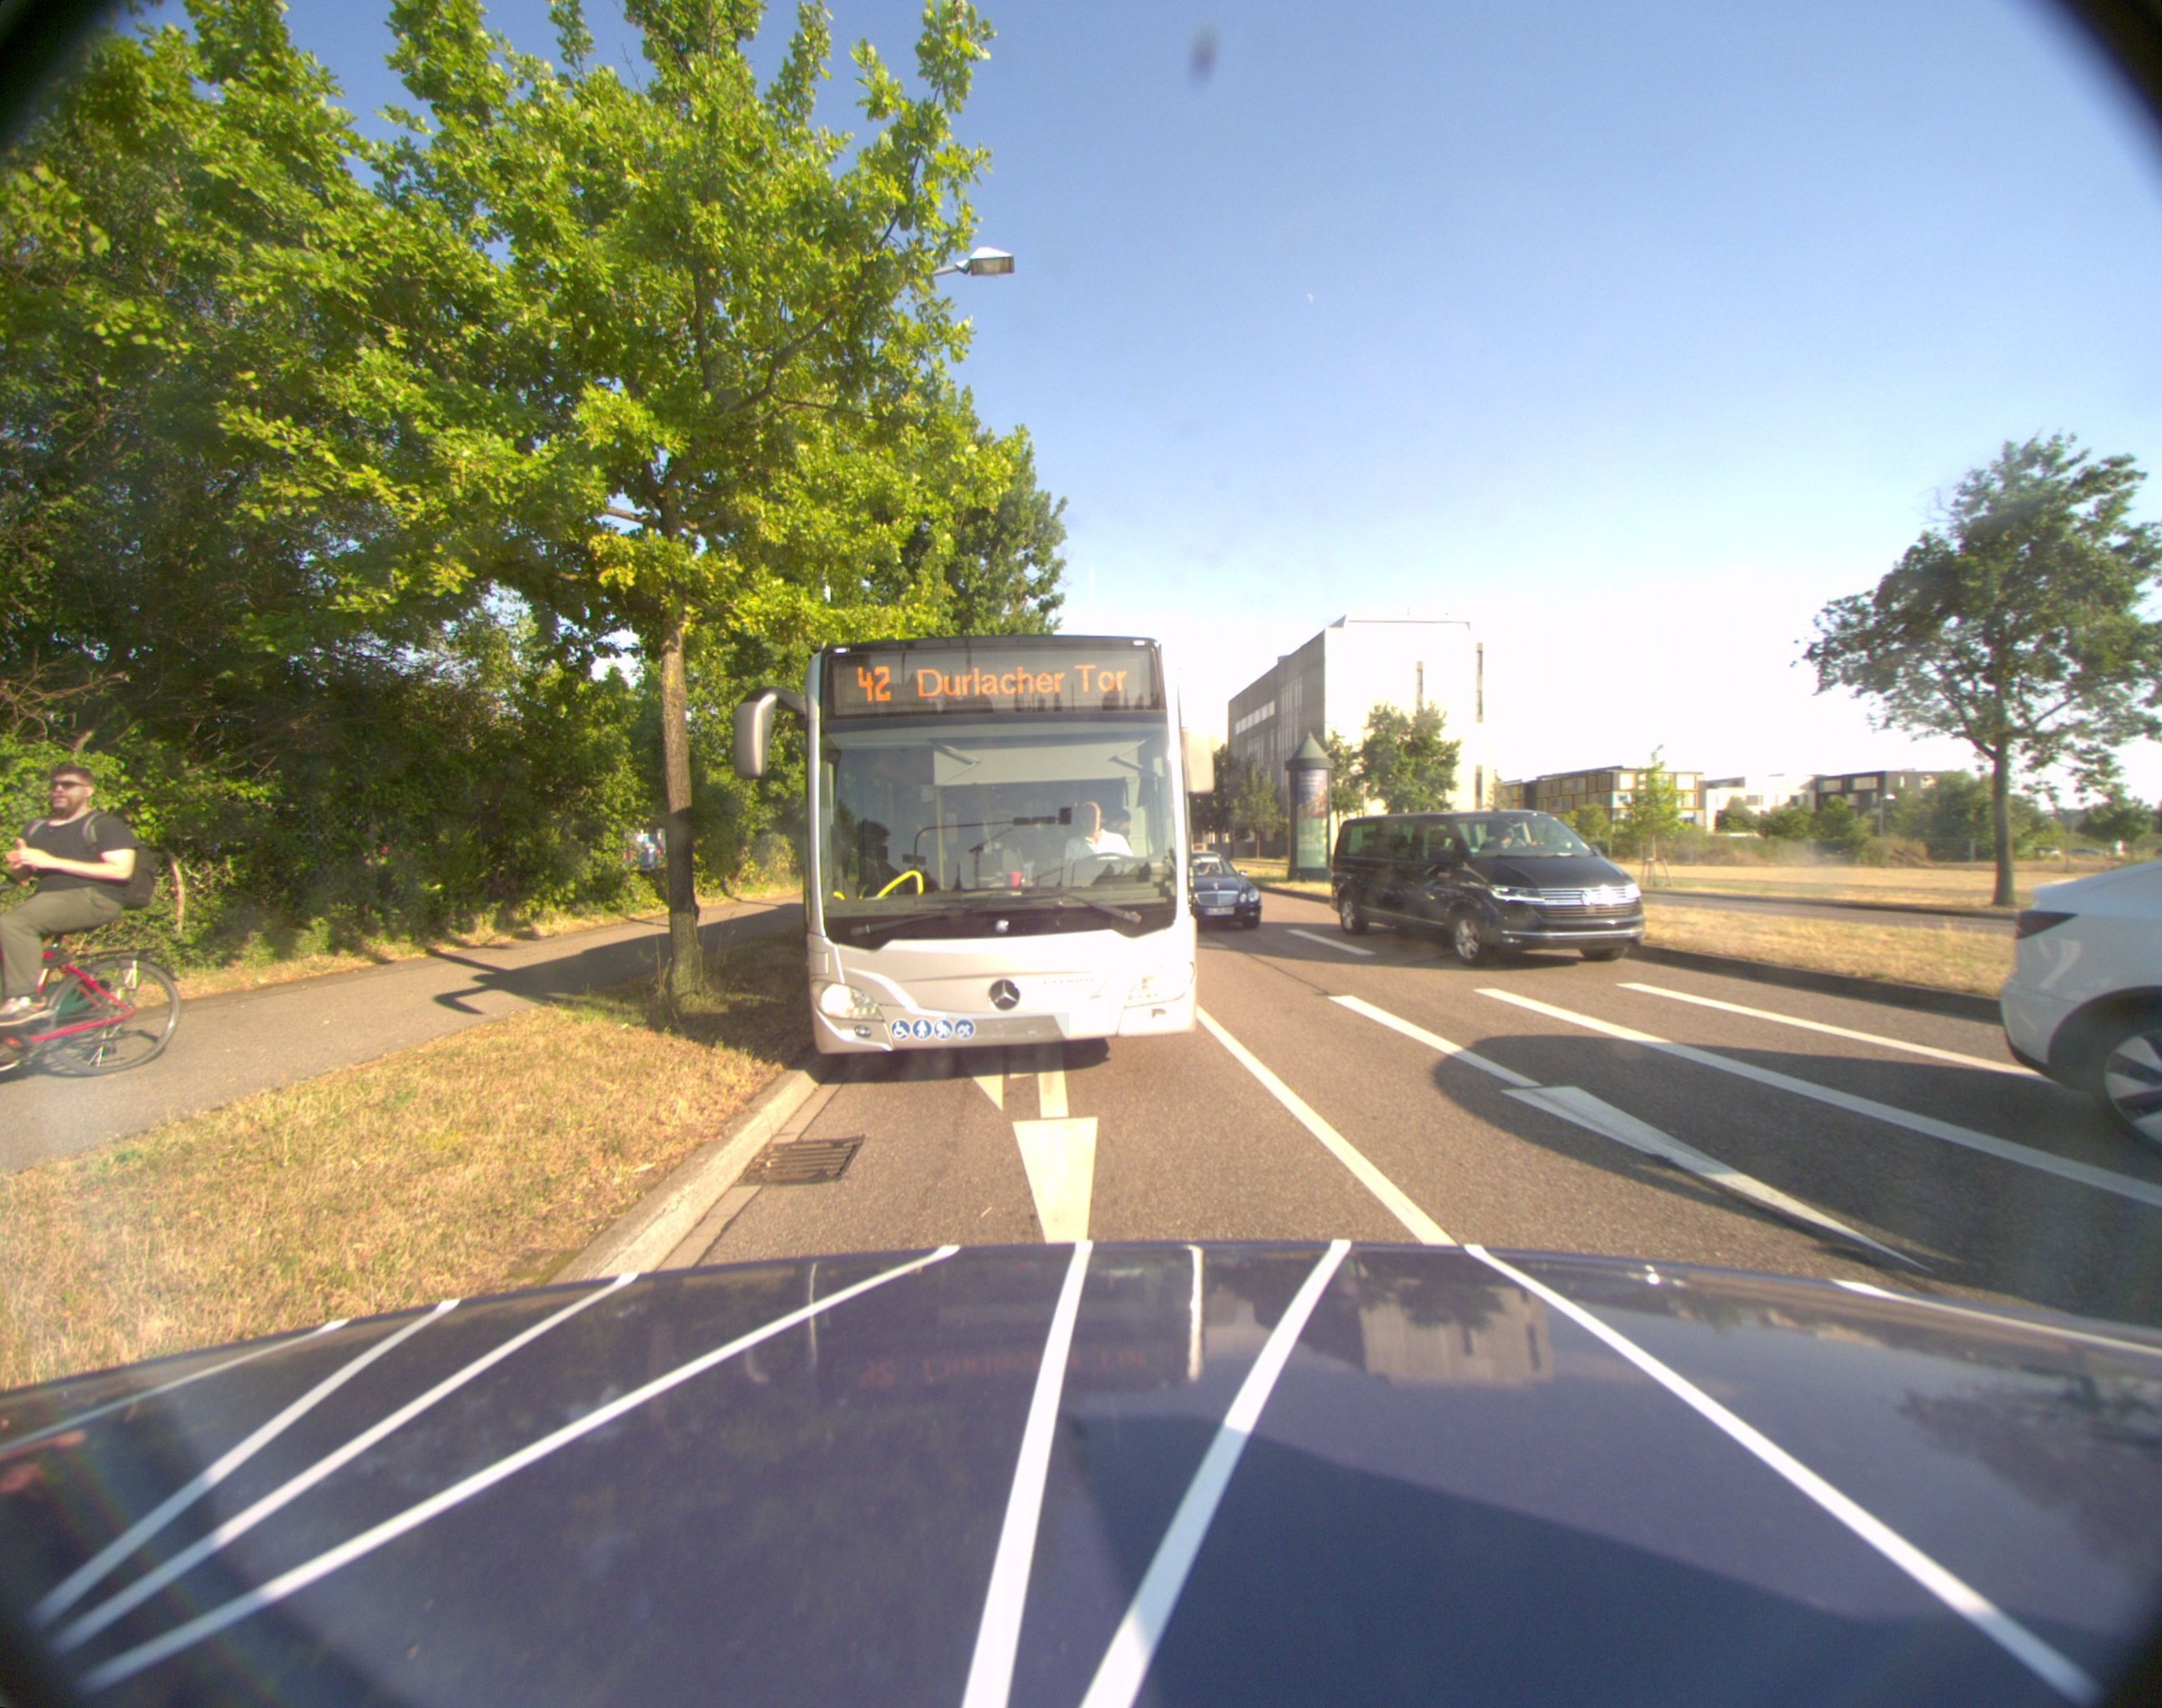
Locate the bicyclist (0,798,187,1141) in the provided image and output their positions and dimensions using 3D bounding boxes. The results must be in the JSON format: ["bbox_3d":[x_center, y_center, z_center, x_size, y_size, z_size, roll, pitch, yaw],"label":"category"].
[{"bbox_3d":[-6.016,0.598,4.428,0.620,1.819,0.830,1,1,1],"label":"bicyclist"}]

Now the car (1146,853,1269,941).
[{"bbox_3d":[2.324,0.729,15.074,1.810,1.428,4.494,-1,0,2],"label":"car"}]

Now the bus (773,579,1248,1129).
[{"bbox_3d":[-0.865,-0.057,10.131,2.596,3.025,11.713,-1,1,-5],"label":"bus"}]

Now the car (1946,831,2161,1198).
[{"bbox_3d":[5.675,0.697,1.815,1.740,1.590,4.675,-2,1,-4],"label":"car"}]

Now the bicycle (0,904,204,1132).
[{"bbox_3d":[-5.969,0.904,4.095,0.416,1.151,1.890,0,0,-5],"label":"bicycle"}]

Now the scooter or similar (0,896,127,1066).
[{"bbox_3d":[-7.551,0.894,5.353,0.249,1.120,1.095,2,1,1],"label":"scooter or similar"}]

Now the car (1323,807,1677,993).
[{"bbox_3d":[5.282,0.448,10.595,1.861,1.921,5.010,-2,1,-4],"label":"car"}]
